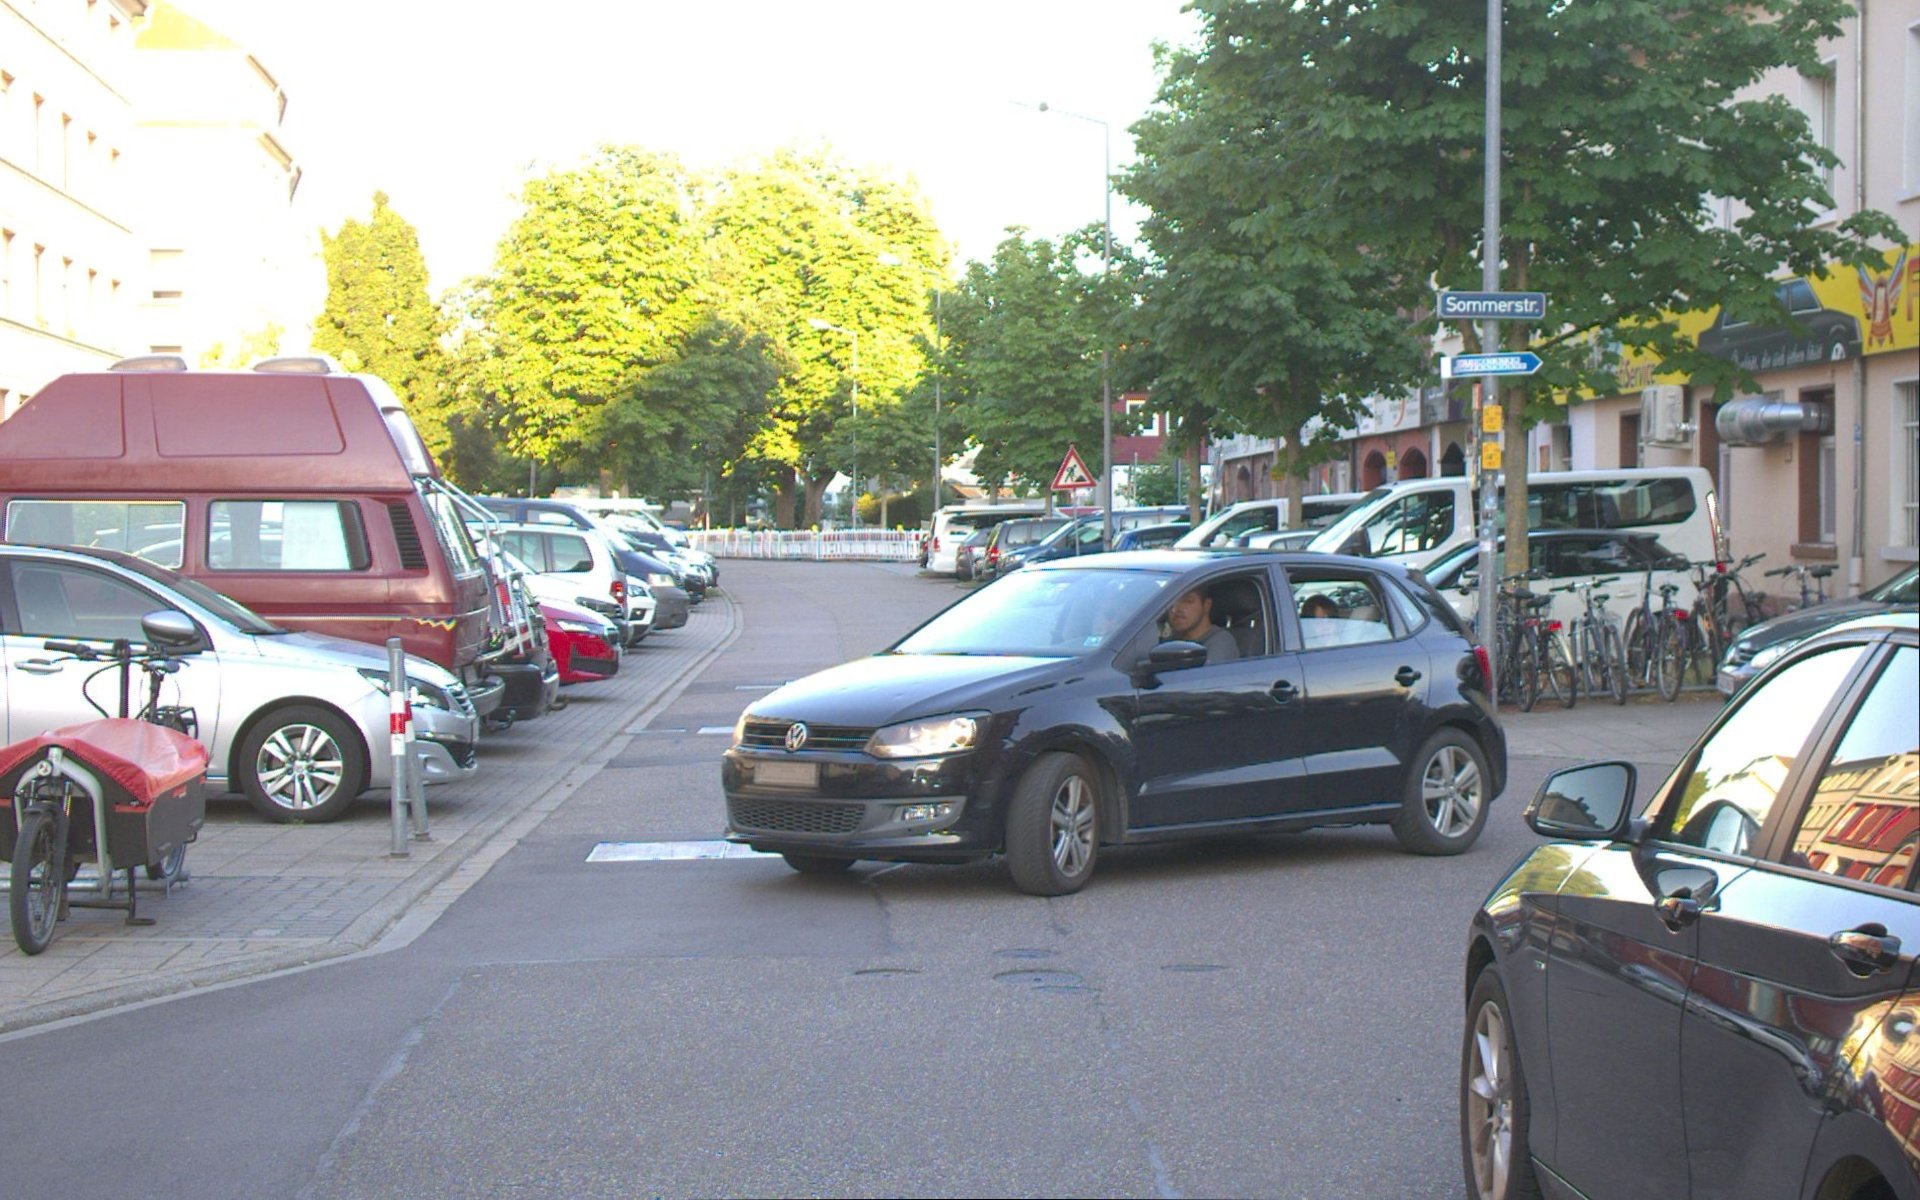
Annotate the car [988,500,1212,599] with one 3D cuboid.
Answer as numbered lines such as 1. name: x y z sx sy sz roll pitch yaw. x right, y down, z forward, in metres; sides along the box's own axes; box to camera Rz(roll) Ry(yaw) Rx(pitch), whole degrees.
1. car: 2.938 -1.074 72.535 4.478 1.905 1.688 -2 1 -6

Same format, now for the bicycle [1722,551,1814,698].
1. bicycle: 6.532 0.181 27.842 0.353 1.139 1.481 -1 1 -1

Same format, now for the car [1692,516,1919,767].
1. car: 7.068 0.216 22.738 4.050 1.509 1.756 -1 3 0

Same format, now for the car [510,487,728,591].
1. car: -7.364 -1.335 74.602 4.533 2.127 2.000 1 1 -1

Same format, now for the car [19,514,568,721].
1. car: -5.450 0.122 28.550 4.208 1.570 2.000 1 1 -3

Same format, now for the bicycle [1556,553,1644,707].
1. bicycle: 5.165 0.226 27.784 0.386 1.196 1.481 -1 1 -1

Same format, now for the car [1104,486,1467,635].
1. car: 4.681 -0.583 49.922 4.943 1.951 2.049 -2 1 -3

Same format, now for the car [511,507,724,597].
1. car: -7.149 -1.015 72.040 4.256 1.743 2.000 1 1 -1

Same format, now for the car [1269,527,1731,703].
1. car: 4.988 0.114 32.067 3.918 1.446 1.769 -2 1 -4

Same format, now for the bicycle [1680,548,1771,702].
1. bicycle: 6.173 0.186 27.756 0.353 1.196 1.481 -1 1 -1

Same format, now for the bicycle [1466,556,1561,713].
1. bicycle: 4.479 0.259 27.922 0.386 1.196 2.017 -1 1 -1

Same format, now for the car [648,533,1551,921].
1. car: 0.708 0.457 15.258 3.930 1.450 1.657 -2 2 -41

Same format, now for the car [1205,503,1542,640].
1. car: 5.106 -0.369 42.827 3.911 1.521 1.939 -2 1 0

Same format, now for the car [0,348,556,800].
1. car: -4.890 -0.191 21.154 4.511 2.575 2.000 1 1 0

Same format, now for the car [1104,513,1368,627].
1. car: 4.776 -0.531 59.862 4.316 1.798 1.811 -2 1 -3

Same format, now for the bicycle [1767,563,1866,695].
1. bicycle: 6.937 0.224 27.894 0.387 1.013 1.481 -1 1 -1

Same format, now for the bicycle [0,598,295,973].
1. bicycle: -3.269 0.640 13.317 0.807 1.217 2.865 1 1 0

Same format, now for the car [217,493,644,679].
1. car: -5.596 -0.166 36.748 4.256 1.830 2.000 1 1 -1

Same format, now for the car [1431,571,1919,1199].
1. car: 1.995 0.711 5.606 1.721 1.419 4.254 1 1 -2

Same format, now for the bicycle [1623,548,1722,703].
1. bicycle: 5.743 0.192 27.759 0.445 1.196 1.481 -1 1 -1

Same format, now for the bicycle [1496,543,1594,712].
1. bicycle: 4.740 0.198 27.934 0.386 1.300 2.017 -1 1 -1

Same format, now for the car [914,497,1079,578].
1. car: 0.910 -1.605 87.964 3.967 1.905 2.050 -2 1 -6

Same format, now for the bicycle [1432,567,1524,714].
1. bicycle: 4.194 0.307 27.933 0.386 1.110 2.017 -1 1 -1

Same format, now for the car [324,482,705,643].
1. car: -5.923 -0.514 46.123 4.850 2.014 1.907 1 1 -1

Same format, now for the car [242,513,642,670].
1. car: -5.848 -0.114 39.219 4.256 1.654 2.000 1 1 -1

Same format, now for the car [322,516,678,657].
1. car: -5.784 -0.189 43.576 4.256 1.646 1.888 1 1 -1

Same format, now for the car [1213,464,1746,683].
1. car: 5.181 -0.285 34.849 4.989 1.976 2.220 -2 1 -1

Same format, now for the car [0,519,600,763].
1. car: -4.659 0.257 23.736 4.208 1.532 1.791 1 1 -3

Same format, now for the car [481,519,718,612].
1. car: -6.722 -0.665 64.470 4.256 1.616 2.000 1 1 -2

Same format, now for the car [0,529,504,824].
1. car: -4.856 0.361 18.587 4.615 1.455 1.881 1 1 -4

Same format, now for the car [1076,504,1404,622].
1. car: 4.433 -0.601 54.952 4.943 1.683 2.077 -2 1 -3

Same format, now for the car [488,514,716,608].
1. car: -6.965 -0.777 67.207 4.256 1.709 2.000 1 1 -1

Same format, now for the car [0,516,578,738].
1. car: -5.189 0.177 26.294 4.210 1.532 1.842 1 1 5

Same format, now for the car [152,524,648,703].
1. car: -5.038 0.098 31.339 4.209 1.484 1.850 1 1 -1
